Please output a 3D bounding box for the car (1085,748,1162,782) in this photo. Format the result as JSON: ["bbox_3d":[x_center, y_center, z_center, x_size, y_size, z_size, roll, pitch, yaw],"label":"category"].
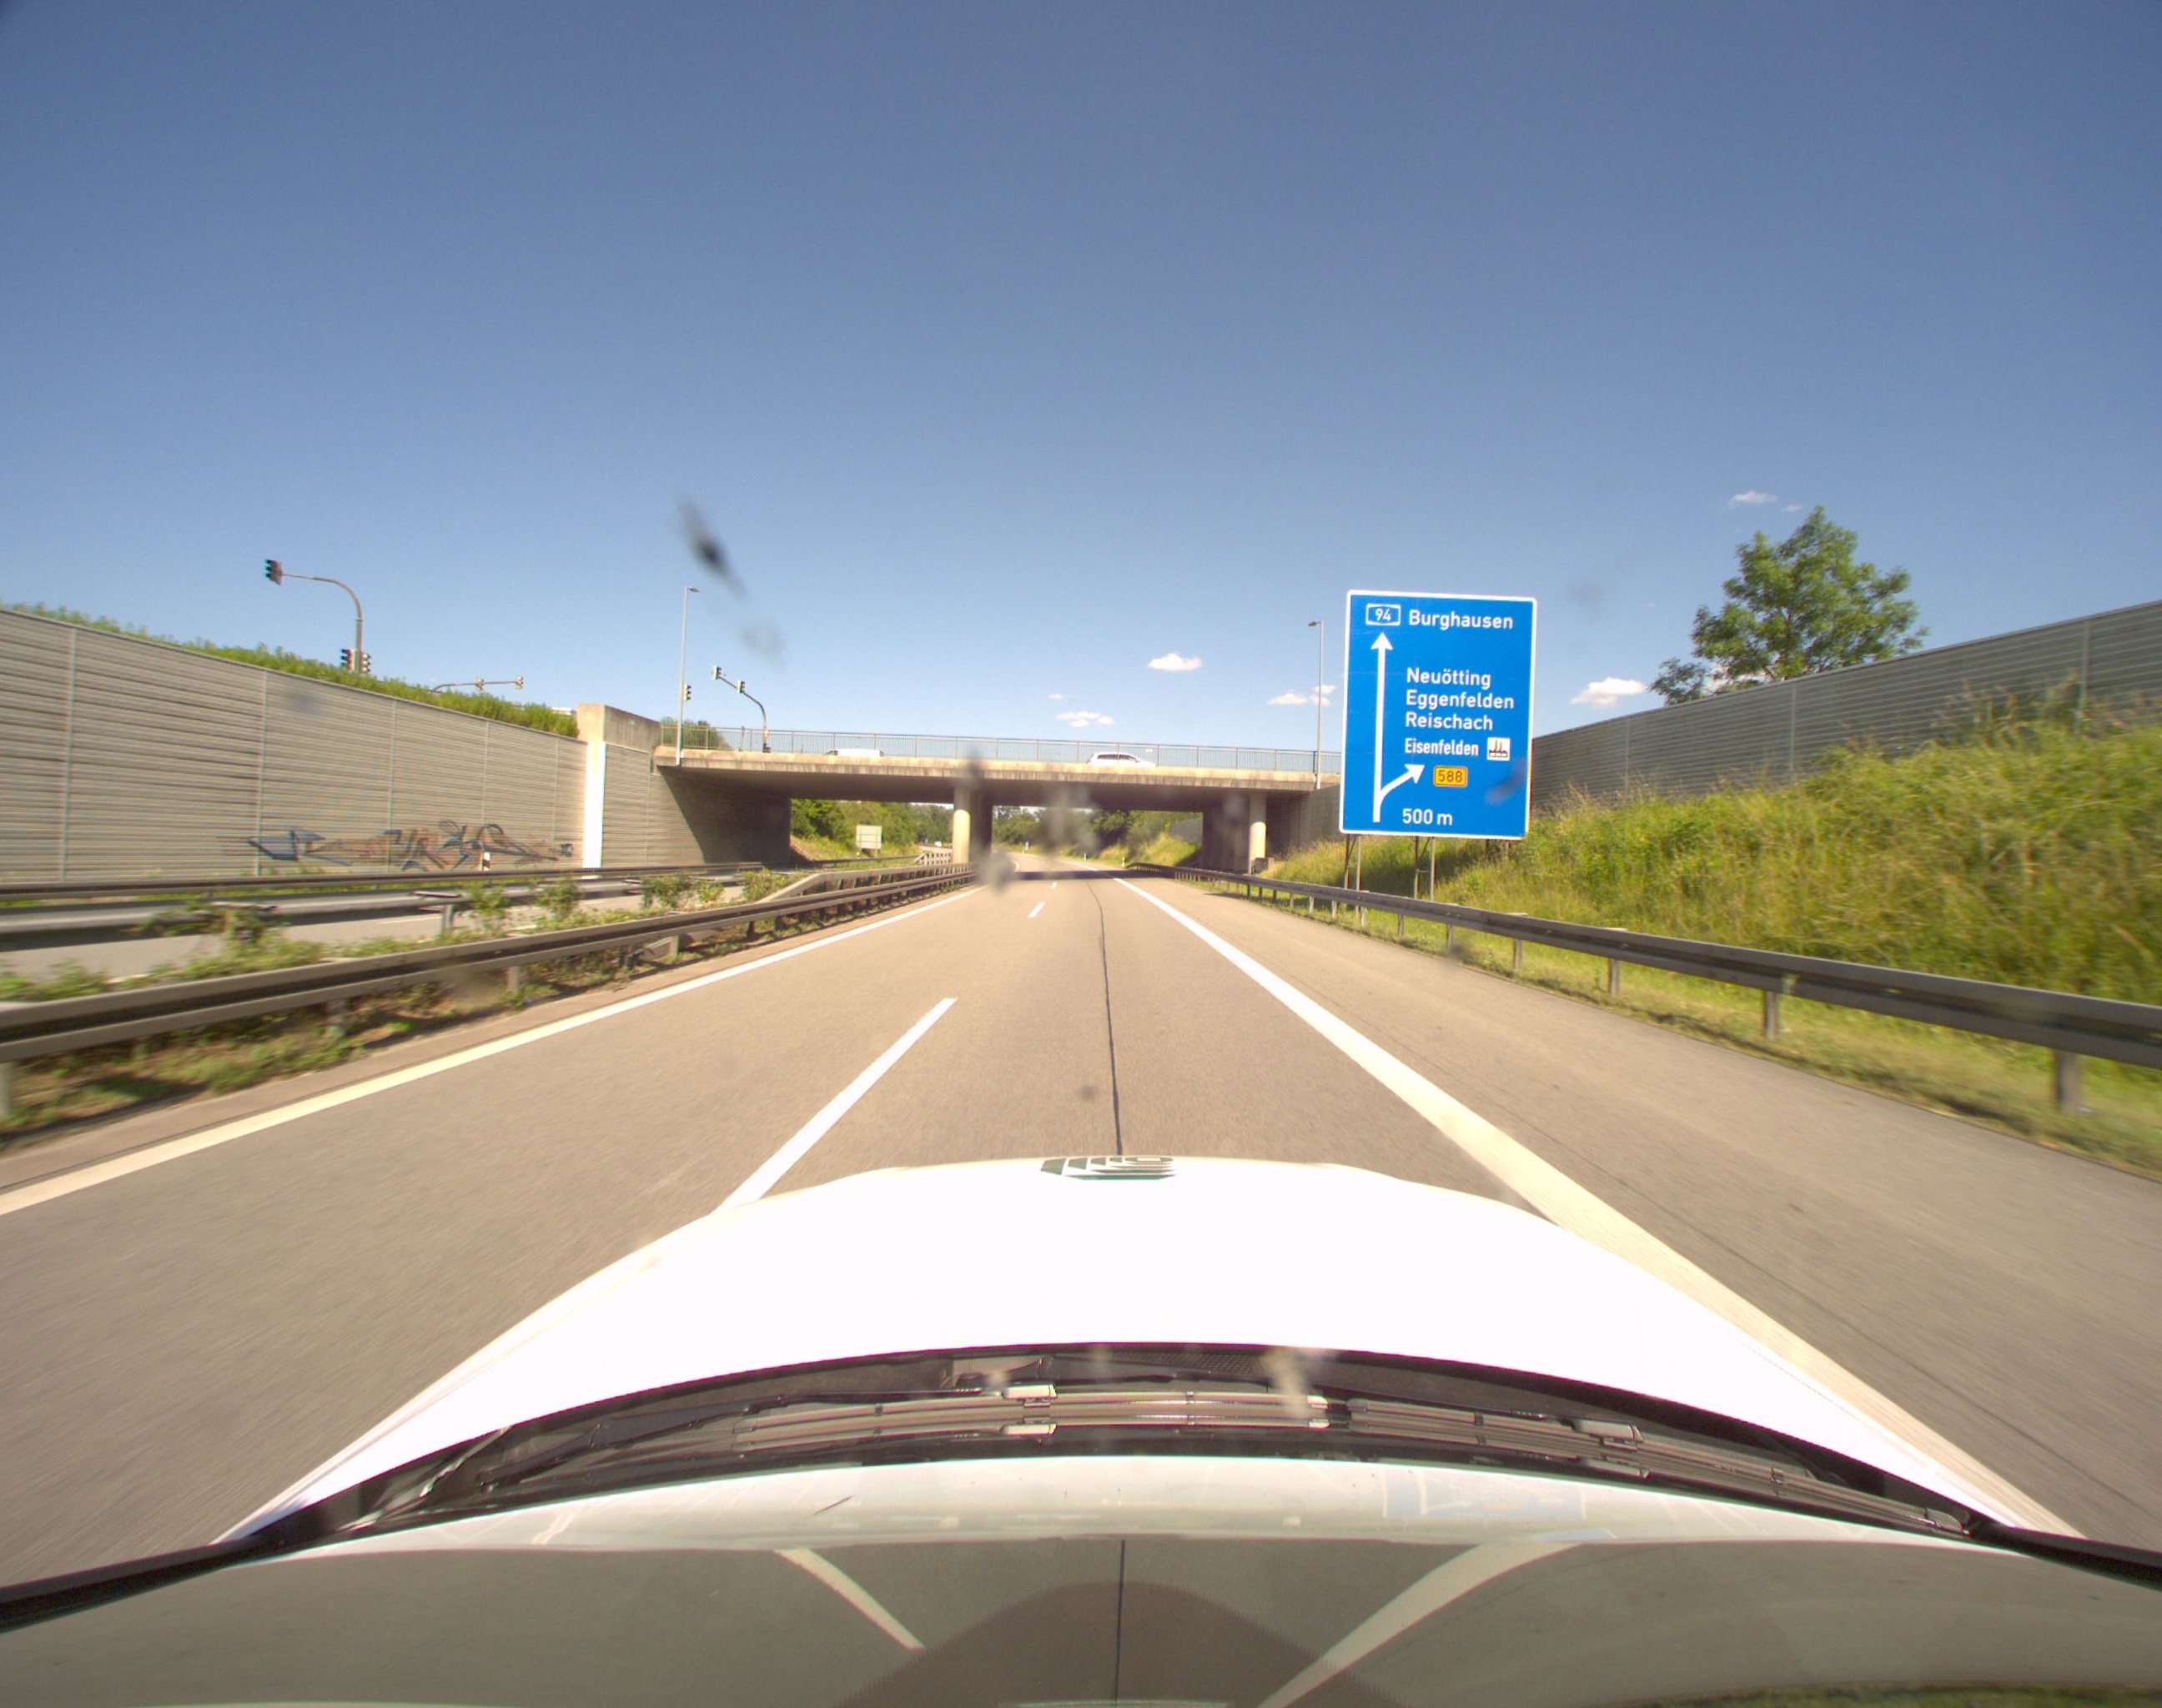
[{"bbox_3d":[2.446,-5.191,47.778,4.389,1.597,1.999,2,-1,-2],"label":"car"}]

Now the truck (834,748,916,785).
[{"bbox_3d":[-13.264,-5.635,52.670,4.843,2.167,1.998,0,-1,-2],"label":"truck"}]

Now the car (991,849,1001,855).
[{"bbox_3d":[-21.888,-0.538,210.634,2.064,1.625,3.982,0,-1,-13],"label":"car"}]
